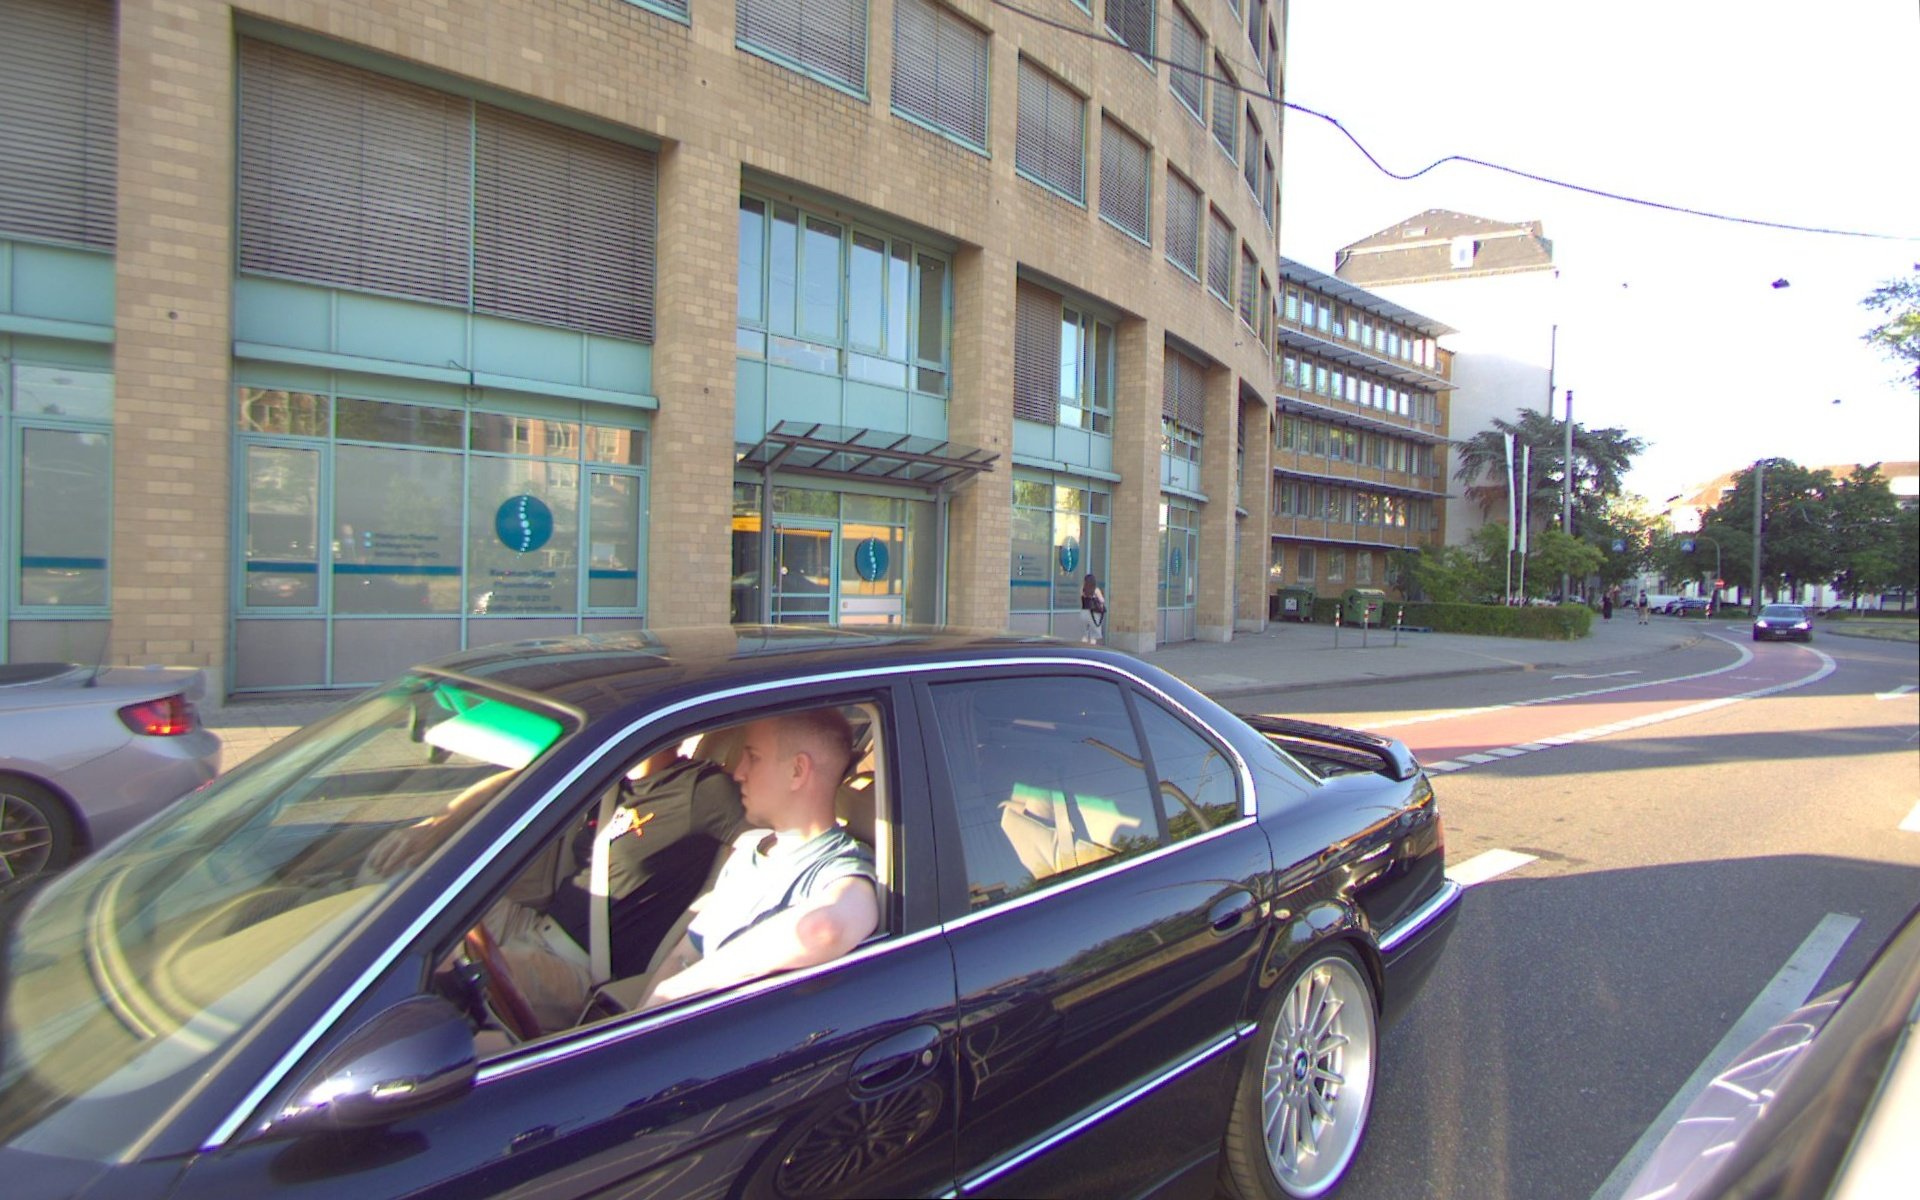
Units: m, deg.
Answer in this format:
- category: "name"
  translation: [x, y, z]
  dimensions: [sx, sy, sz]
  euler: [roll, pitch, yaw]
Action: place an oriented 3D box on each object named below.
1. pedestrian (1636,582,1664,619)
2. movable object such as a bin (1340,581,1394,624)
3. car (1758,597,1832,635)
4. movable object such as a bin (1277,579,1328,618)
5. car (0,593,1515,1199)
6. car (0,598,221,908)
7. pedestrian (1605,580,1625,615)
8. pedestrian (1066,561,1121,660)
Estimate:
- category: "pedestrian"
  translation: [36.349, -0.005, 53.320]
  dimensions: [0.900, 1.918, 1.119]
  euler: [1, 1, 19]
- category: "movable object such as a bin"
  translation: [14.869, 0.074, 36.951]
  dimensions: [1.311, 1.477, 1.424]
  euler: [0, 1, -45]
- category: "car"
  translation: [33.350, 0.603, 40.394]
  dimensions: [3.932, 1.404, 1.756]
  euler: [0, 0, -42]
- category: "movable object such as a bin"
  translation: [13.351, -0.079, 39.496]
  dimensions: [1.310, 1.477, 1.425]
  euler: [0, 1, -43]
- category: "car"
  translation: [-0.716, 0.701, 2.321]
  dimensions: [4.656, 1.402, 1.997]
  euler: [0, 1, -41]
- category: "car"
  translation: [-5.908, 0.700, 4.467]
  dimensions: [4.153, 1.403, 1.746]
  euler: [0, 0, -41]
- category: "pedestrian"
  translation: [35.189, -0.149, 54.389]
  dimensions: [0.711, 1.830, 0.728]
  euler: [0, 1, -41]
- category: "pedestrian"
  translation: [2.348, 0.173, 17.803]
  dimensions: [0.702, 1.702, 0.626]
  euler: [0, 1, -44]
